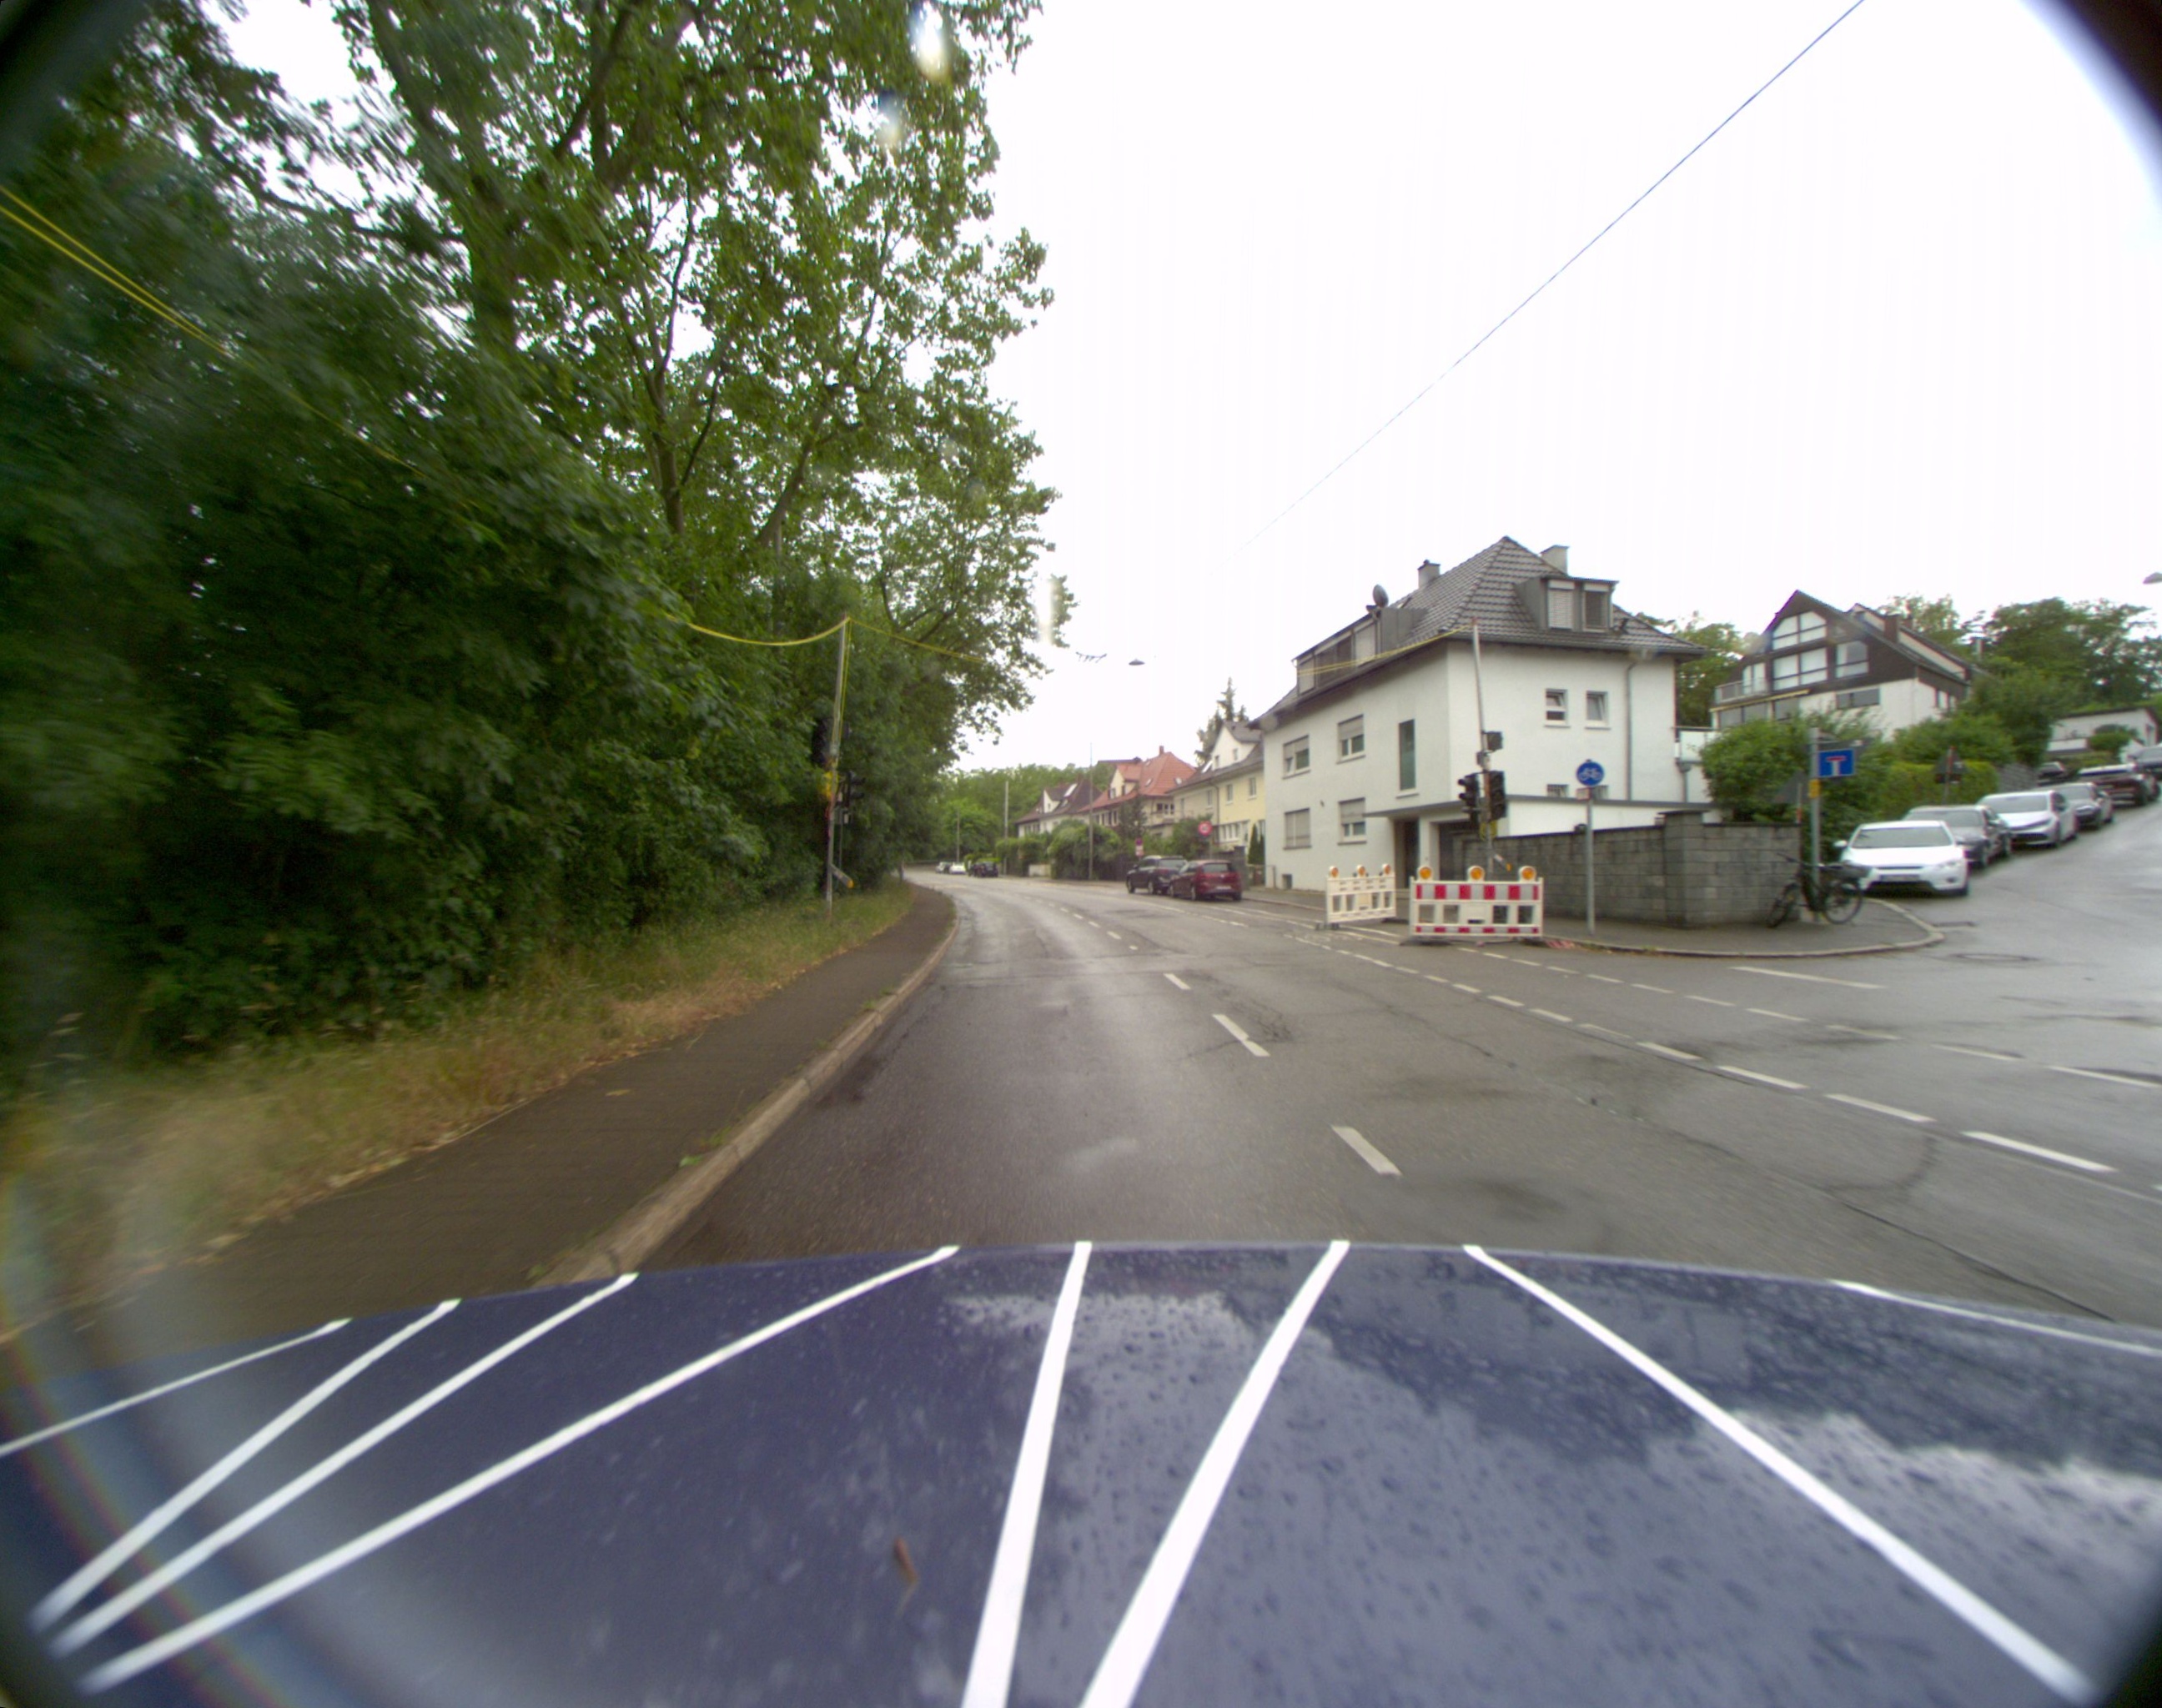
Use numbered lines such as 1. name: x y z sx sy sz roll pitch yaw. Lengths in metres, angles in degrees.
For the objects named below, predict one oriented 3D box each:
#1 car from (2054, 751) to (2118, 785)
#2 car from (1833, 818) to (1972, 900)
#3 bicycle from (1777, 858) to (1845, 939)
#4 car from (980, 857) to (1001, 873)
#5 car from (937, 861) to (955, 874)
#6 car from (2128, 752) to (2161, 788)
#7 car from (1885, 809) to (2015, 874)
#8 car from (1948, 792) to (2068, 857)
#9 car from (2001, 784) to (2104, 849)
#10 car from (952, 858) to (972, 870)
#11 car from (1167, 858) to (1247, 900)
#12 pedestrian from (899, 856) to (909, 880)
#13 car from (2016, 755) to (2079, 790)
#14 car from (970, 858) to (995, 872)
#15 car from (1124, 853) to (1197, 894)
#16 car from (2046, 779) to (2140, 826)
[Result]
1. car: 57.812 -4.923 43.766 4.007 1.711 1.886 -4 3 -42
2. car: 17.843 0.038 16.538 4.007 1.458 1.886 -4 3 -42
3. bicycle: 11.524 0.676 11.977 1.521 1.118 0.462 -4 3 -34
4. car: -8.787 1.082 73.704 1.525 1.445 3.025 1 -1 -17
5. car: -18.033 1.823 101.617 1.739 1.414 4.275 -5 4 -17
6. car: 54.451 -4.244 38.173 4.006 1.711 1.886 -4 2 -32
7. car: 22.685 -0.360 19.808 4.006 1.458 1.886 -4 3 -36
8. car: 27.234 -0.887 22.302 4.006 1.711 1.886 -4 3 -35
9. car: 32.377 -1.256 25.304 4.006 1.981 1.886 -4 3 -35
10. car: -14.498 1.197 92.242 1.705 1.459 3.705 -1 0 -19
11. car: 4.581 0.876 28.231 1.622 1.432 4.227 -1 -1 -10
12. pedestrian: -12.054 0.928 51.745 0.644 1.602 0.668 -1 2 -19
13. car: 53.142 -4.452 41.839 4.007 1.711 1.886 -4 3 -42
14. car: -10.134 1.142 77.892 1.695 1.410 4.208 1 -1 -20
15. car: 3.408 0.828 33.369 1.761 1.648 4.399 1 -1 -14
16. car: 40.356 -2.059 30.291 4.006 1.711 1.886 -4 2 -32
